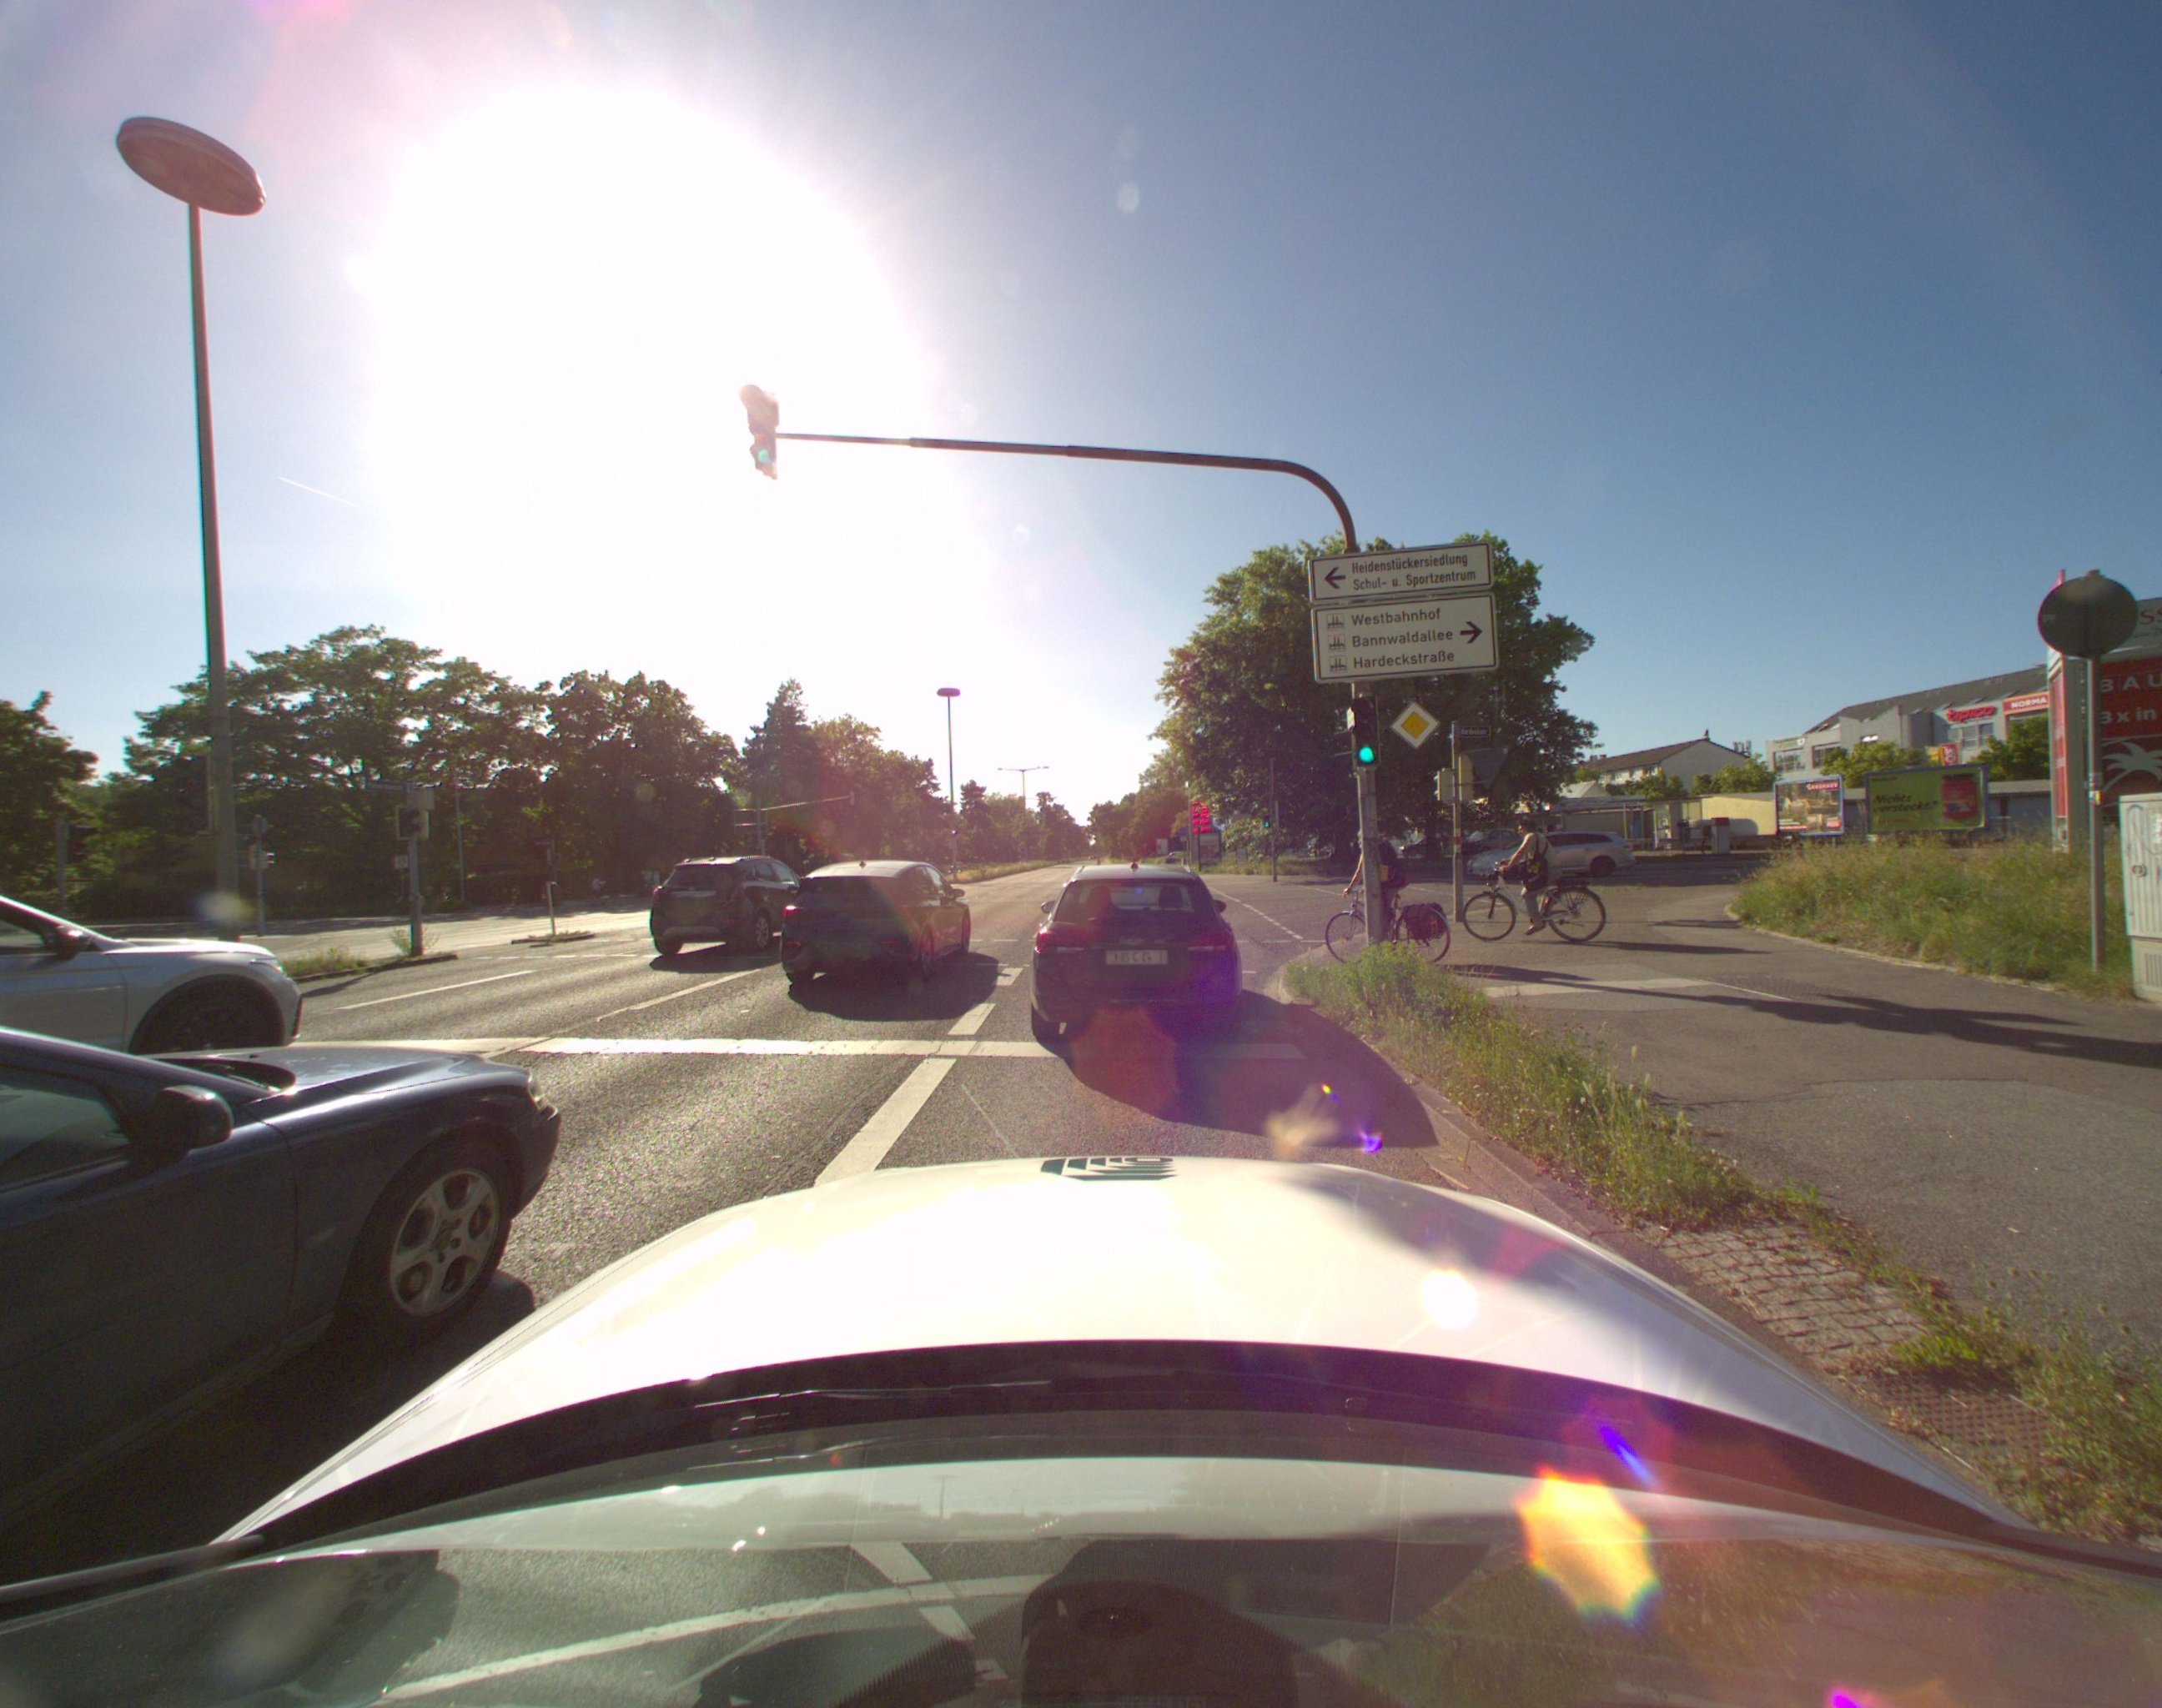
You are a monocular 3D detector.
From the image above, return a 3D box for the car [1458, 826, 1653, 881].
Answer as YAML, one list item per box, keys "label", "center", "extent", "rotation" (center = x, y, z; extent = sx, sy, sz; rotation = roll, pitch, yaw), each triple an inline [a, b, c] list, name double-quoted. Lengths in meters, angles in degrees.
- label: "car"
  center: [14.978, -0.012, 26.026]
  extent: [4.969, 1.486, 2.007]
  rotation: [-2, 0, 13]

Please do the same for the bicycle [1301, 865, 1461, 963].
- label: "bicycle"
  center: [3.689, 0.745, 10.140]
  extent: [0.540, 1.097, 1.755]
  rotation: [-2, -2, -41]

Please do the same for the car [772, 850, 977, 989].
- label: "car"
  center: [-2.682, 0.787, 11.602]
  extent: [1.678, 1.580, 4.209]
  rotation: [-1, -1, 2]

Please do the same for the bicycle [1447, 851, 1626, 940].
- label: "bicycle"
  center: [6.132, 0.584, 11.074]
  extent: [0.584, 1.097, 1.963]
  rotation: [-2, -2, -41]

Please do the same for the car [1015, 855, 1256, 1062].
- label: "car"
  center: [0.472, 0.790, 8.089]
  extent: [1.750, 1.495, 4.209]
  rotation: [-1, -1, 2]

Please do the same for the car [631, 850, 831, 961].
- label: "car"
  center: [-6.232, 0.832, 15.073]
  extent: [1.798, 1.689, 4.002]
  rotation: [-3, 0, 2]

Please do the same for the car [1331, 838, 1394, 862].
- label: "car"
  center: [19.451, -0.277, 56.244]
  extent: [3.903, 1.518, 1.733]
  rotation: [-3, 0, -21]

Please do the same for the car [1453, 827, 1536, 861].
- label: "car"
  center: [22.458, -0.548, 44.235]
  extent: [4.002, 1.680, 1.733]
  rotation: [-3, 0, -21]

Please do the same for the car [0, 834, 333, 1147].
- label: "car"
  center: [-6.942, 0.789, 4.167]
  extent: [1.986, 1.710, 4.427]
  rotation: [-3, 0, 2]

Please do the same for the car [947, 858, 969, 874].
- label: "car"
  center: [-15.890, 1.516, 105.477]
  extent: [1.986, 2.013, 4.001]
  rotation: [-3, 0, 2]

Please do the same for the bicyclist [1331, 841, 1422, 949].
- label: "bicyclist"
  center: [3.675, 0.510, 10.143]
  extent: [0.540, 1.277, 0.819]
  rotation: [-2, -2, -41]

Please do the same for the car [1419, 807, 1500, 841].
- label: "car"
  center: [21.403, -1.674, 46.081]
  extent: [4.002, 1.750, 1.986]
  rotation: [1, -1, -22]

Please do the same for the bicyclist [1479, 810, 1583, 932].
- label: "bicyclist"
  center: [6.111, 0.247, 11.083]
  extent: [0.584, 1.581, 0.985]
  rotation: [-2, -2, -41]

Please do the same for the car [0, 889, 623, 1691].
- label: "car"
  center: [-2.935, 0.853, 1.283]
  extent: [1.769, 1.452, 4.458]
  rotation: [0, -1, 2]

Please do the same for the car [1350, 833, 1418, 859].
- label: "car"
  center: [19.775, -0.503, 53.152]
  extent: [3.903, 1.518, 1.733]
  rotation: [-3, 0, -21]
